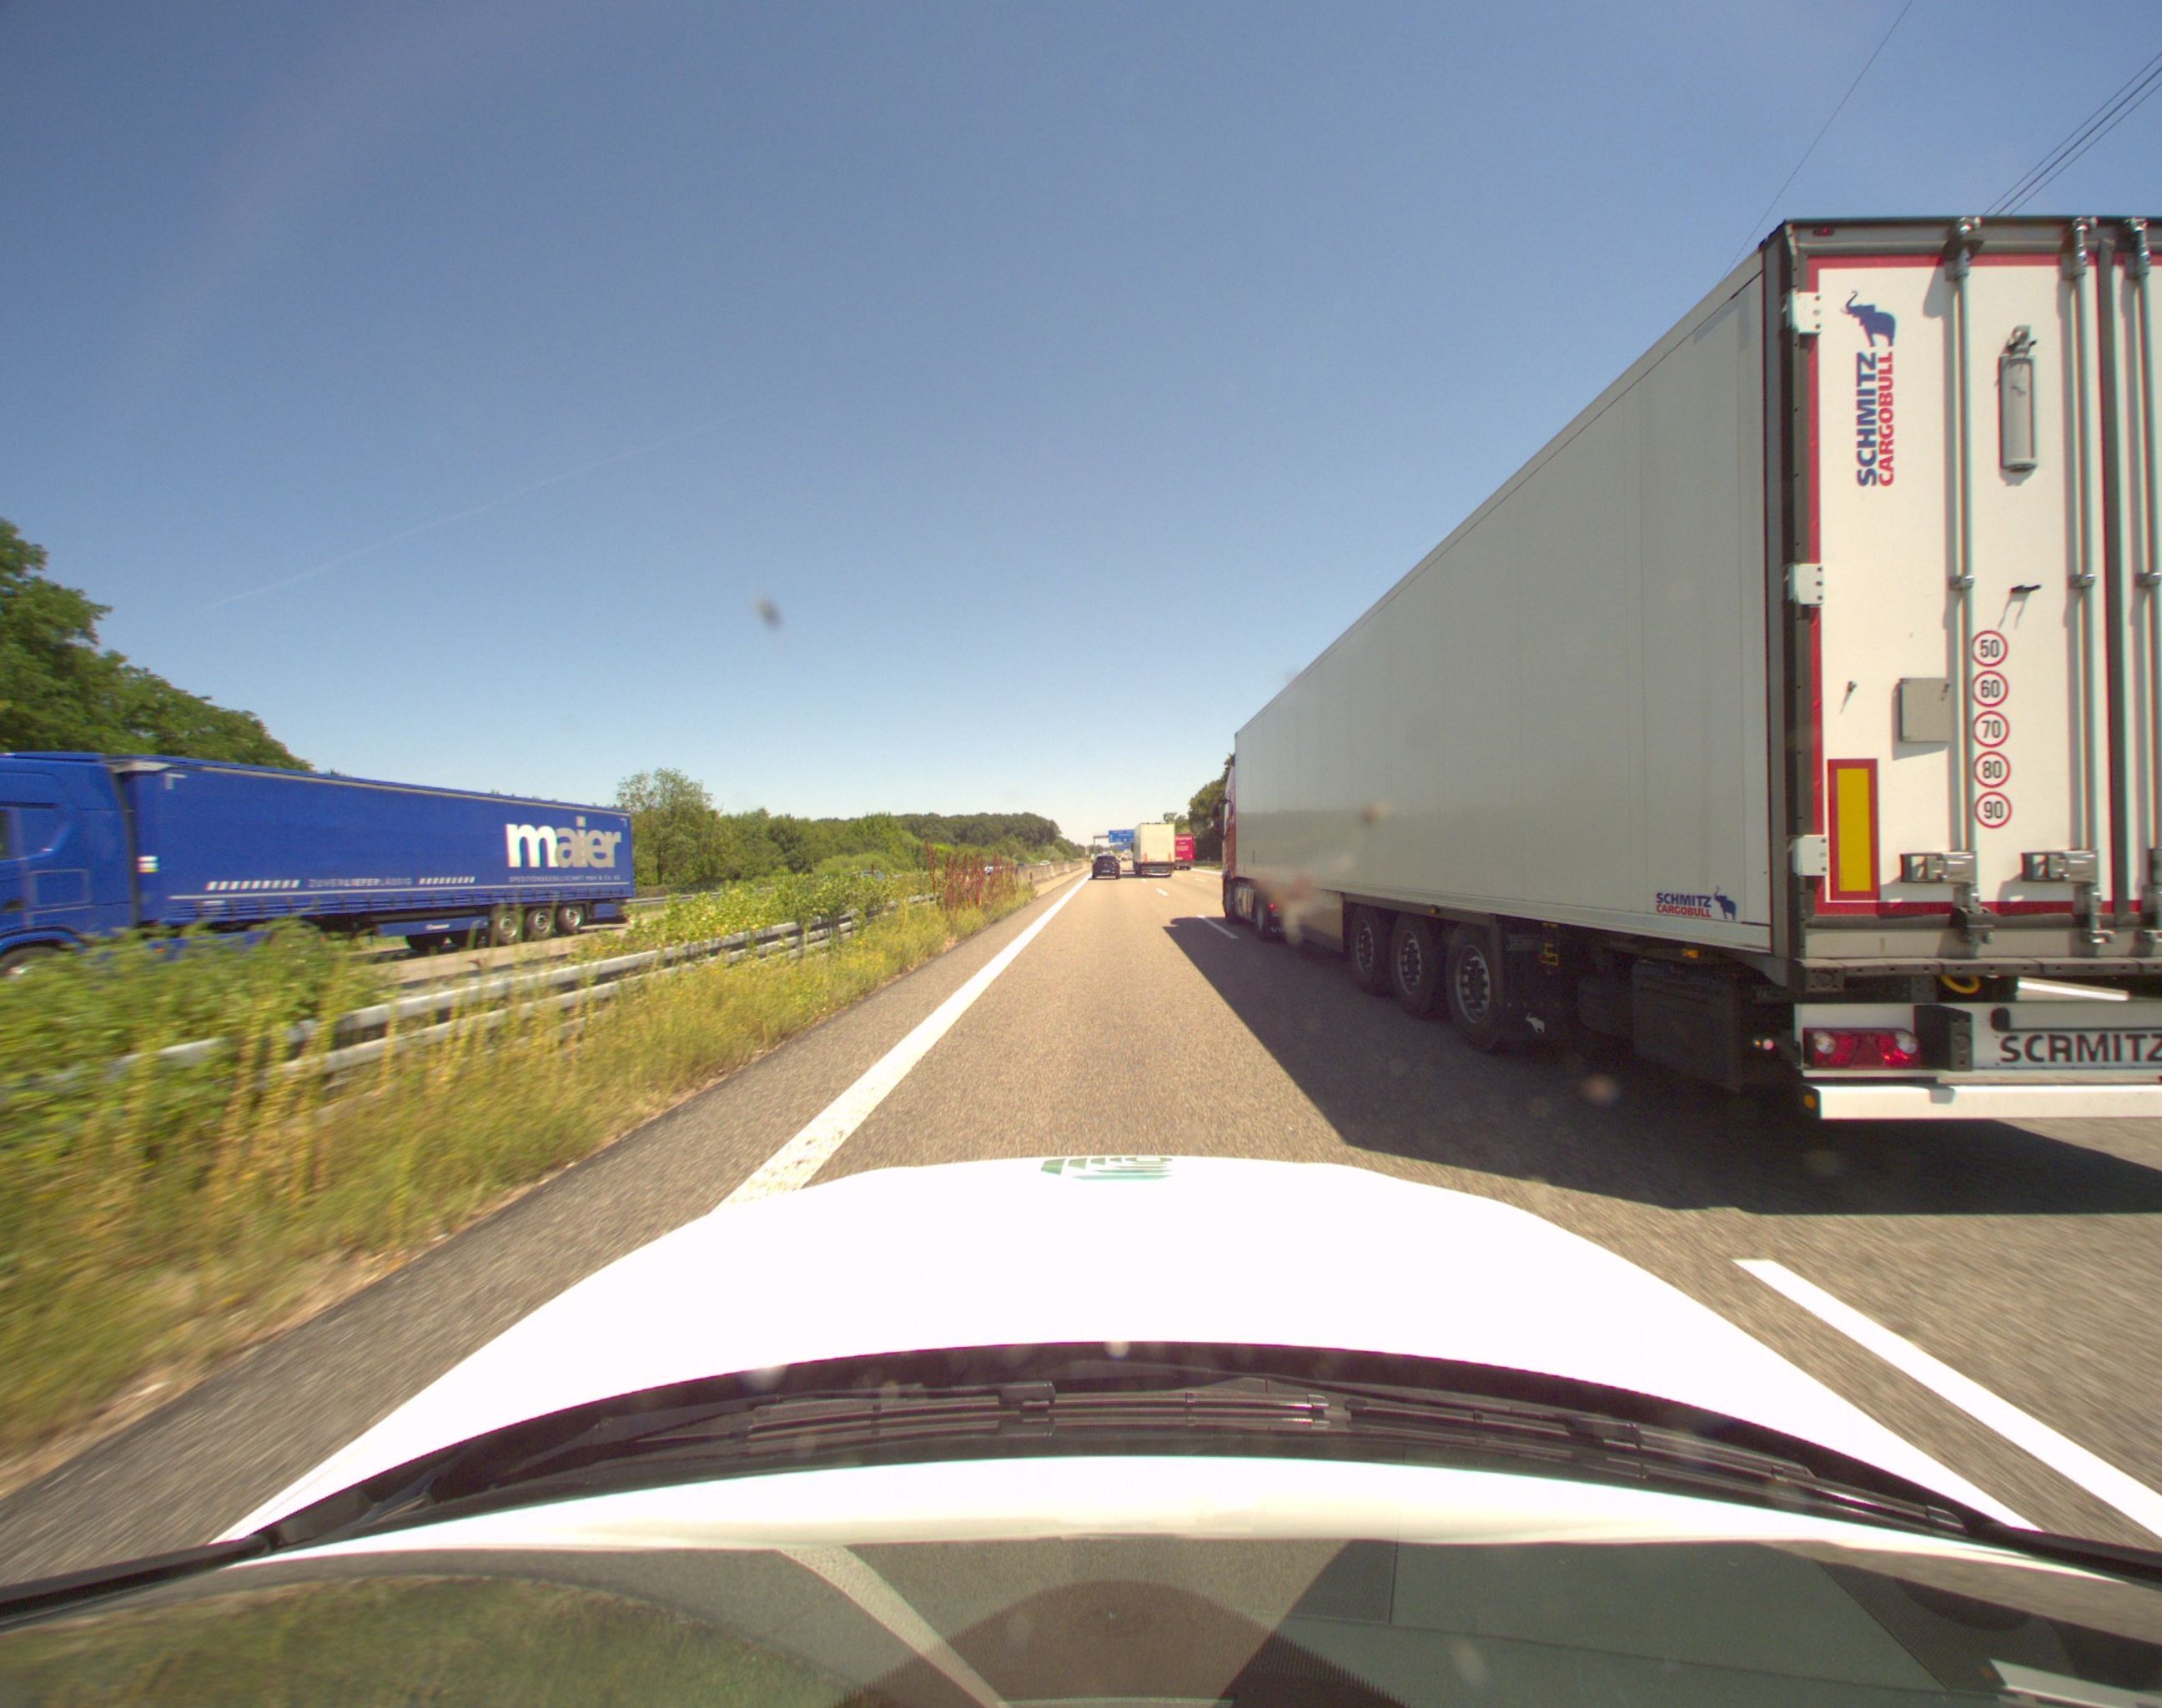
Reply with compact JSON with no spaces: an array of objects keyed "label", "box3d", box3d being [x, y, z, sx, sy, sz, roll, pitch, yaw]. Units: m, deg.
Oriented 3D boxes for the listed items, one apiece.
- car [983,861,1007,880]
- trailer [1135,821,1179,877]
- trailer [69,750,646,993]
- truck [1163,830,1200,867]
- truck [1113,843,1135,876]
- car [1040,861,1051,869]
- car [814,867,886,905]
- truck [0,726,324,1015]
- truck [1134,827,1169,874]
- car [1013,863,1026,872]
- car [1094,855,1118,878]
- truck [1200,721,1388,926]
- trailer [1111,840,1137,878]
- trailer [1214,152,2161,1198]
[{"label":"car","box3d":[-10.030,1.899,95.176,1.986,2.013,4.941,-4,-1,2]},{"label":"trailer","box3d":[5.898,-0.335,65.159,2.784,4.035,12.574,-1,0,2]},{"label":"trailer","box3d":[-16.422,0.338,21.158,2.463,4.131,13.470,-4,0,1]},{"label":"truck","box3d":[11.887,-0.592,97.456,3.044,4.106,13.222,0,0,2]},{"label":"truck","box3d":[5.500,0.711,104.563,2.689,4.094,6.457,-1,-1,3]},{"label":"car","box3d":[-7.073,2.203,161.521,1.767,1.538,4.686,-3,0,2]},{"label":"car","box3d":[-10.365,1.393,36.913,1.747,1.438,4.545,-4,0,2]},{"label":"truck","box3d":[-16.624,0.313,13.497,2.458,4.133,5.686,-4,0,2]},{"label":"truck","box3d":[6.168,-0.290,72.218,2.789,4.007,6.024,-1,0,2]},{"label":"car","box3d":[-11.762,2.526,155.396,1.901,1.479,4.827,-4,0,2]},{"label":"car","box3d":[1.784,0.829,57.752,1.654,1.549,3.784,-1,0,2]},{"label":"truck","box3d":[4.601,-0.575,18.989,2.930,3.986,6.103,0,0,2]},{"label":"trailer","box3d":[5.010,0.594,95.200,2.696,4.068,14.756,-1,-1,3]},{"label":"trailer","box3d":[4.400,-0.652,11.222,2.927,4.018,16.205,0,0,2]}]
